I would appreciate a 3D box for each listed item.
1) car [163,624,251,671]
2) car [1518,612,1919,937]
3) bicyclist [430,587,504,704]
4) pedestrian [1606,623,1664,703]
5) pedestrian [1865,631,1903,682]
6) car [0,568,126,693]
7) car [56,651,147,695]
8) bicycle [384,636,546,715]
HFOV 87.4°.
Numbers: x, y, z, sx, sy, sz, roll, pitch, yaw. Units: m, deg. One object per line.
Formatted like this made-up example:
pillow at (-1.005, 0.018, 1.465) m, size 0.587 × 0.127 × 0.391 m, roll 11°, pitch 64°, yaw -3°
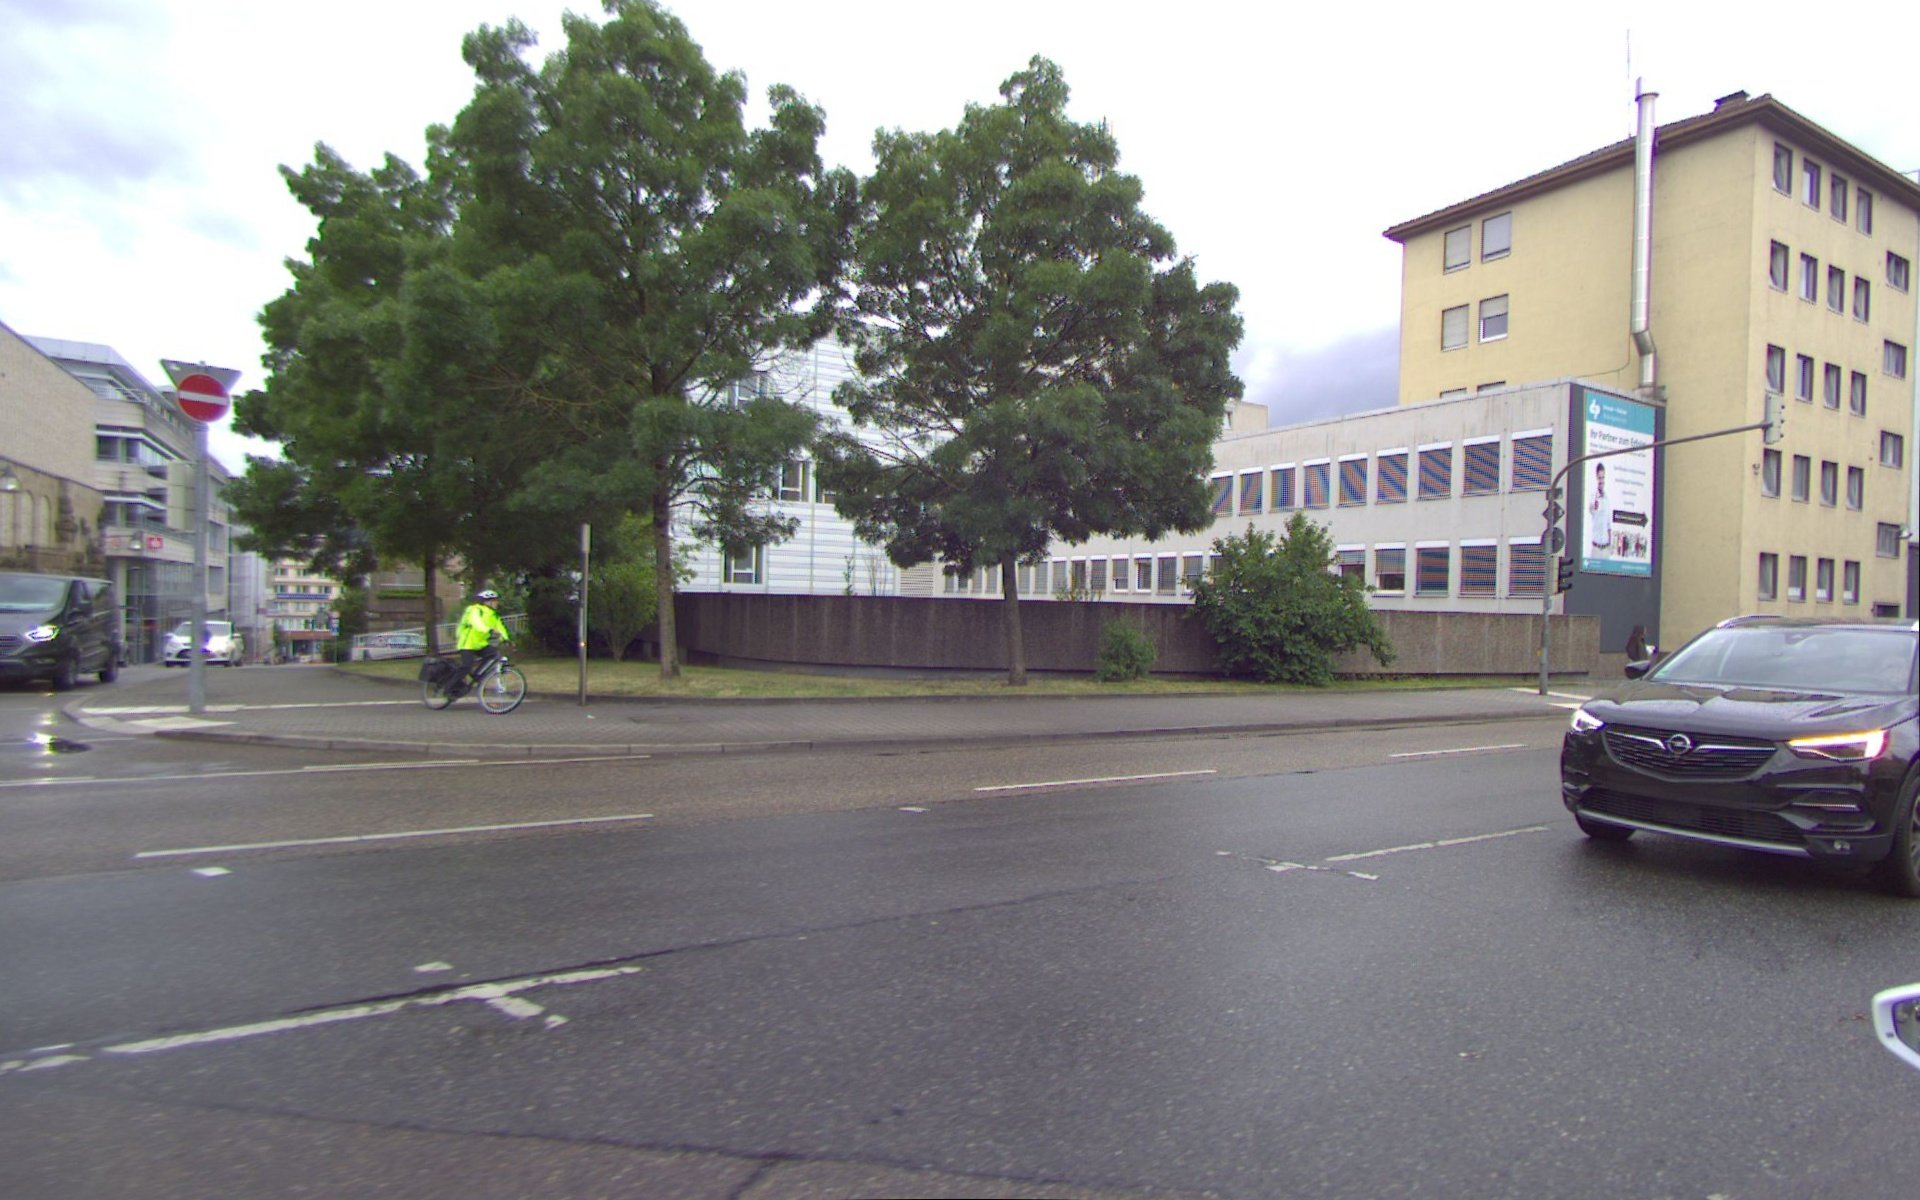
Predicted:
car at (-25.739, 1.658, 34.463) m, size 1.978 × 1.476 × 3.967 m, roll 2°, pitch -4°, yaw -32°
car at (5.976, 0.961, 6.958) m, size 4.246 × 1.615 × 1.799 m, roll 2°, pitch 0°, yaw -31°
bicyclist at (-6.537, 0.590, 13.306) m, size 0.803 × 1.461 × 0.838 m, roll 2°, pitch 1°, yaw -29°
pedestrian at (15.096, 1.395, 22.459) m, size 0.801 × 1.712 × 0.714 m, roll 2°, pitch 1°, yaw -30°
pedestrian at (32.337, 1.982, 35.156) m, size 0.801 × 1.712 × 0.714 m, roll 2°, pitch 1°, yaw -30°
car at (-16.314, 0.597, 17.668) m, size 1.979 × 1.950 × 4.749 m, roll 2°, pitch -4°, yaw -34°
car at (-30.614, 2.582, 35.938) m, size 1.979 × 1.476 × 3.964 m, roll 2°, pitch -4°, yaw -34°
bicycle at (-6.551, 0.988, 13.330) m, size 1.844 × 0.919 × 0.881 m, roll 2°, pitch 1°, yaw -30°
